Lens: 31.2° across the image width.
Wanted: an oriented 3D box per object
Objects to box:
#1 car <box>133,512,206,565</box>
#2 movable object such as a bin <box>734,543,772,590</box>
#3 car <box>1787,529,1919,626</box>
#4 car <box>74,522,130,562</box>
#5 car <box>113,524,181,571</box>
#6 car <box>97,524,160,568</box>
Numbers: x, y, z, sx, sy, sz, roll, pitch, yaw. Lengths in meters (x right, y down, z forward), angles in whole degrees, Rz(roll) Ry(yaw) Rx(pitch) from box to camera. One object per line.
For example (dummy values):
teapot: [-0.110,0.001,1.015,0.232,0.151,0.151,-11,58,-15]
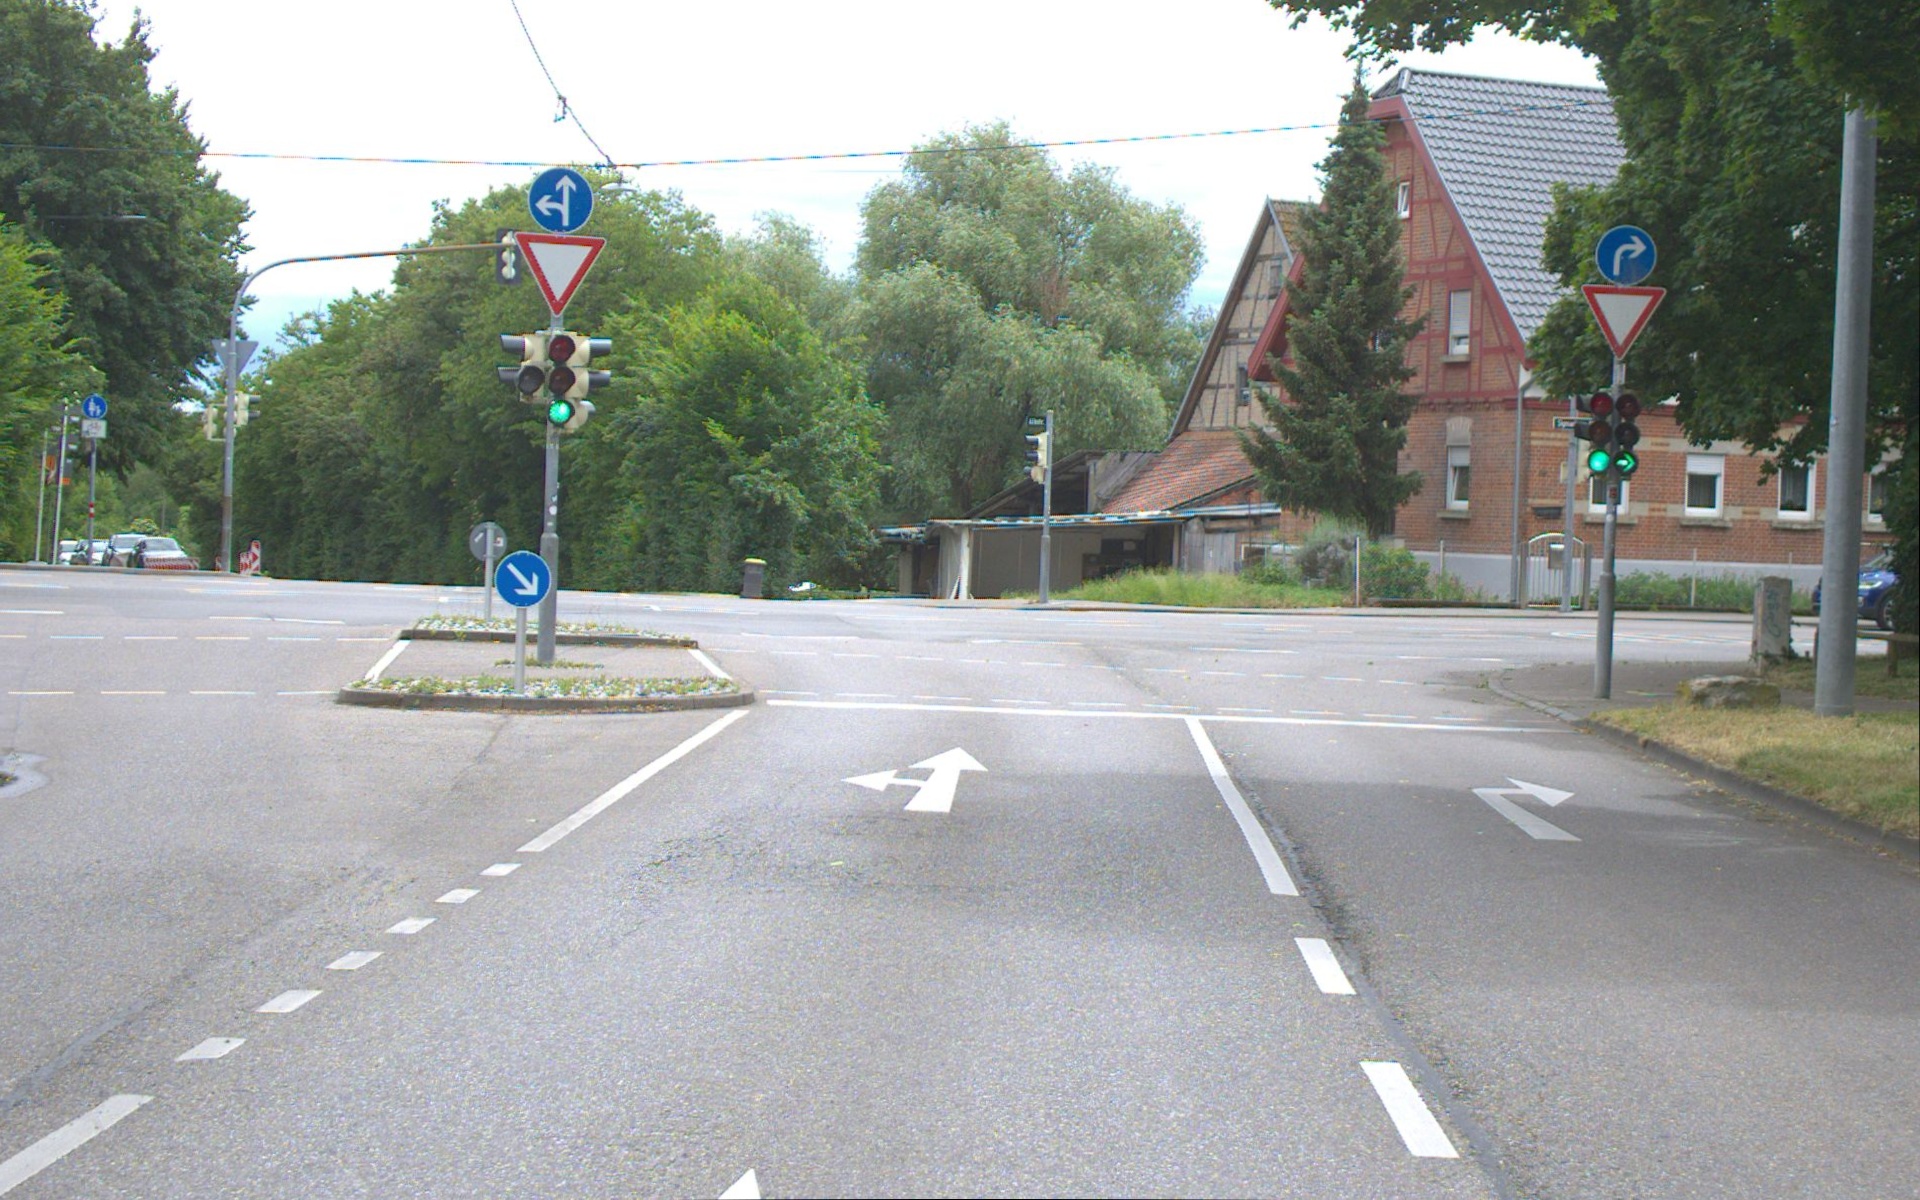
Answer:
car: [-23.337,-1.827,101.380,1.793,1.507,4.001,1,1,-17]
movable object such as a bin: [-4.494,-0.717,74.689,0.632,0.998,0.584,2,-1,-26]
car: [16.912,-0.388,60.935,3.844,1.641,2.001,1,1,-18]
car: [-31.755,-2.147,127.194,1.793,1.405,4.001,1,1,-17]
car: [-25.463,-1.660,107.638,1.793,1.405,4.001,1,1,-17]
car: [-27.911,-1.827,115.312,1.793,1.405,4.001,1,1,-17]
